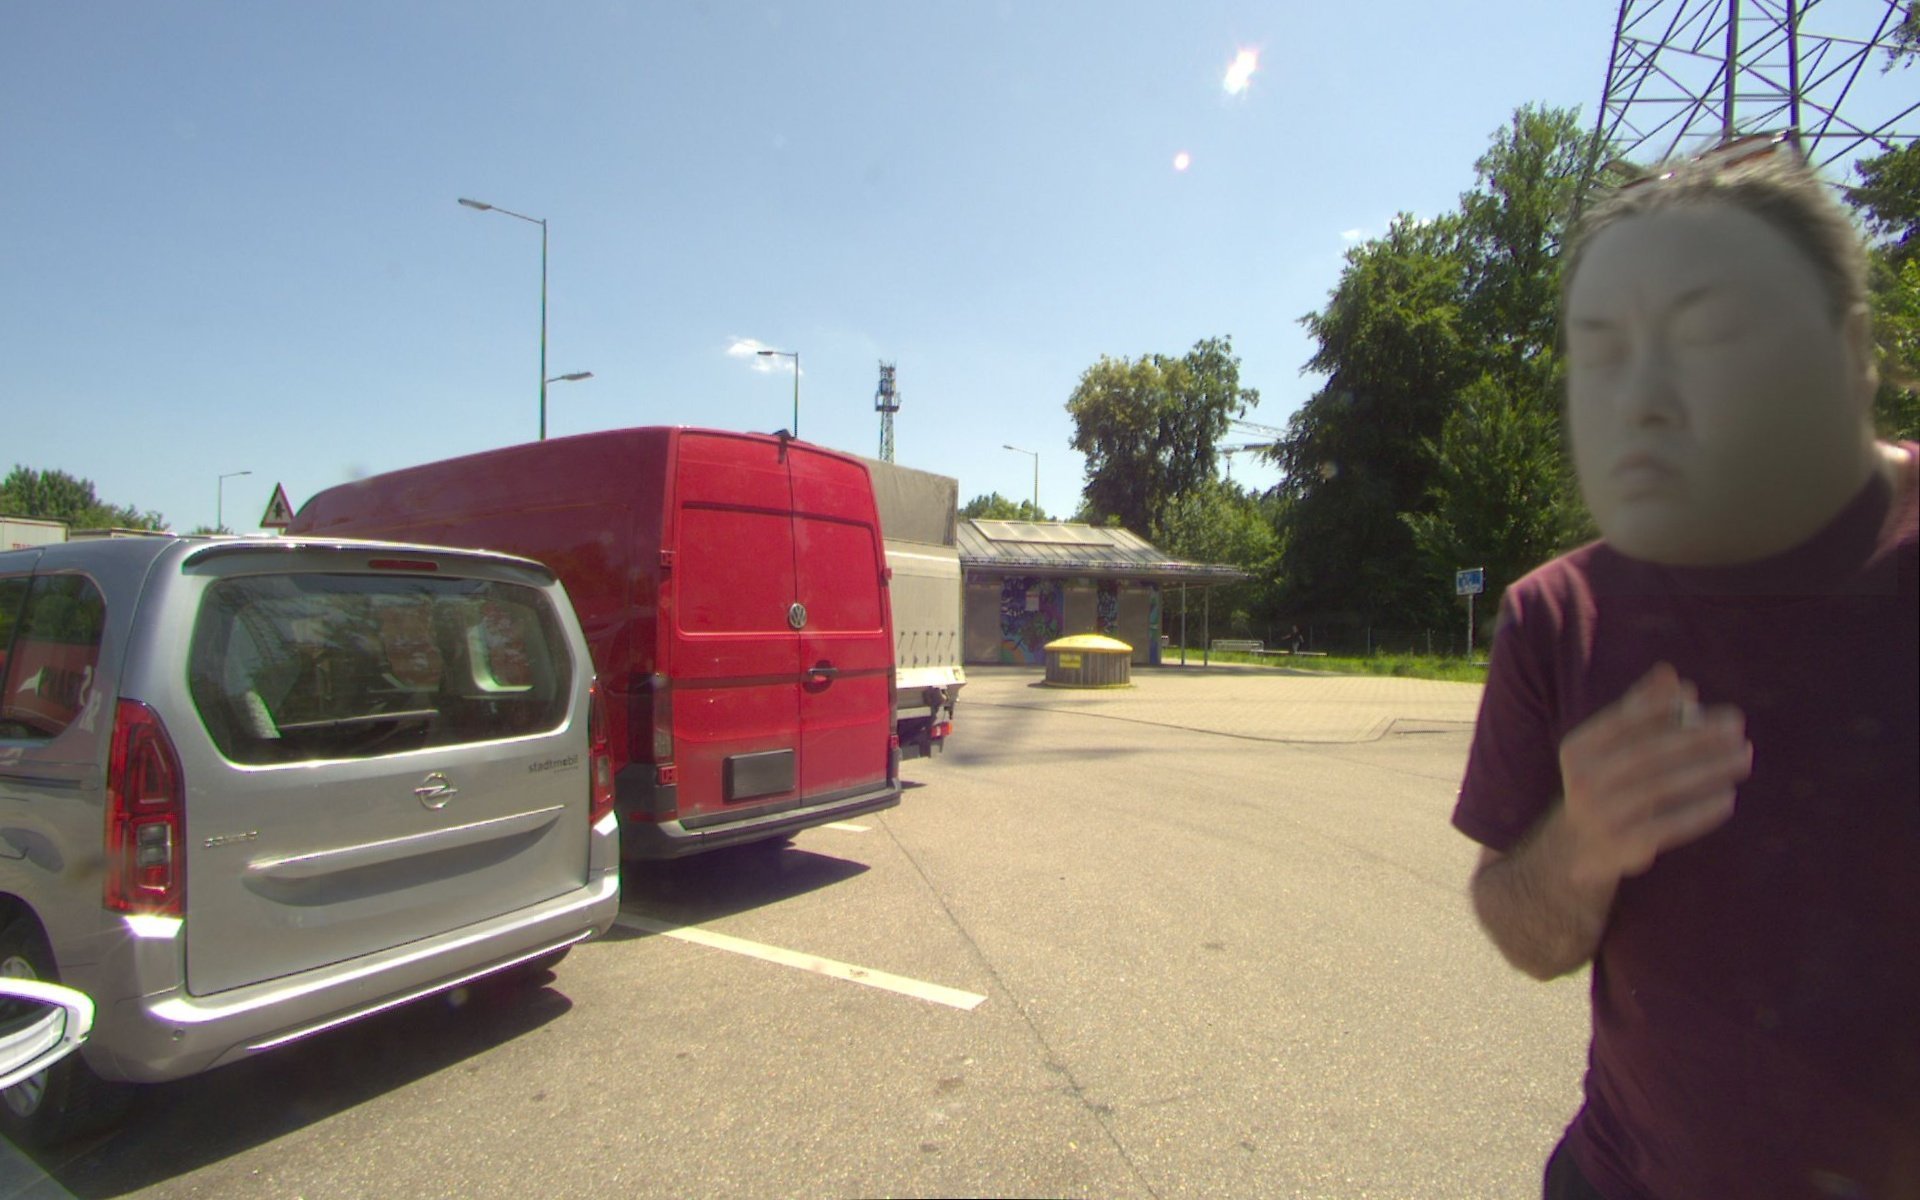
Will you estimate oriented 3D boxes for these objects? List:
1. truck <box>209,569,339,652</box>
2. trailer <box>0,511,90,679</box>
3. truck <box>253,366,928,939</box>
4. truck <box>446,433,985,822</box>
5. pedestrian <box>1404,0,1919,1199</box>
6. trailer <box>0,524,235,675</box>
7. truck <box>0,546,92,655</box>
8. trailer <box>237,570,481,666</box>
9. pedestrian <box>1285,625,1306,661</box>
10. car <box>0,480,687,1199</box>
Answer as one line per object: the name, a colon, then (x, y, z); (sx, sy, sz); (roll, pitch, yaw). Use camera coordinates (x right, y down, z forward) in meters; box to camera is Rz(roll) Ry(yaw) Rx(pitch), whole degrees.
truck: (-32.065, 0.465, 46.749); (5.813, 3.566, 2.799); (2, -2, 33)
trailer: (-28.988, -0.260, 28.130); (14.184, 4.040, 2.808); (2, -2, 33)
truck: (-2.862, 0.337, 7.035); (5.238, 2.655, 1.972); (-2, -2, 38)
truck: (-2.710, 0.305, 10.274); (5.582, 2.949, 2.449); (-2, -2, 37)
pedestrian: (0.816, 0.591, 0.740); (0.851, 1.857, 0.858); (-1, -1, 26)
trailer: (-27.924, -0.102, 31.776); (14.184, 4.040, 2.808); (2, -2, 33)
truck: (-33.742, -0.008, 35.505); (5.813, 3.566, 2.799); (2, -2, 33)
trailer: (-26.070, 0.644, 42.891); (14.184, 3.552, 2.808); (2, -2, 33)
pedestrian: (15.765, 2.017, 47.075); (0.723, 1.658, 0.793); (0, -1, -2)
car: (-3.355, 0.687, 4.236); (4.113, 1.887, 1.868); (1, -2, 31)
